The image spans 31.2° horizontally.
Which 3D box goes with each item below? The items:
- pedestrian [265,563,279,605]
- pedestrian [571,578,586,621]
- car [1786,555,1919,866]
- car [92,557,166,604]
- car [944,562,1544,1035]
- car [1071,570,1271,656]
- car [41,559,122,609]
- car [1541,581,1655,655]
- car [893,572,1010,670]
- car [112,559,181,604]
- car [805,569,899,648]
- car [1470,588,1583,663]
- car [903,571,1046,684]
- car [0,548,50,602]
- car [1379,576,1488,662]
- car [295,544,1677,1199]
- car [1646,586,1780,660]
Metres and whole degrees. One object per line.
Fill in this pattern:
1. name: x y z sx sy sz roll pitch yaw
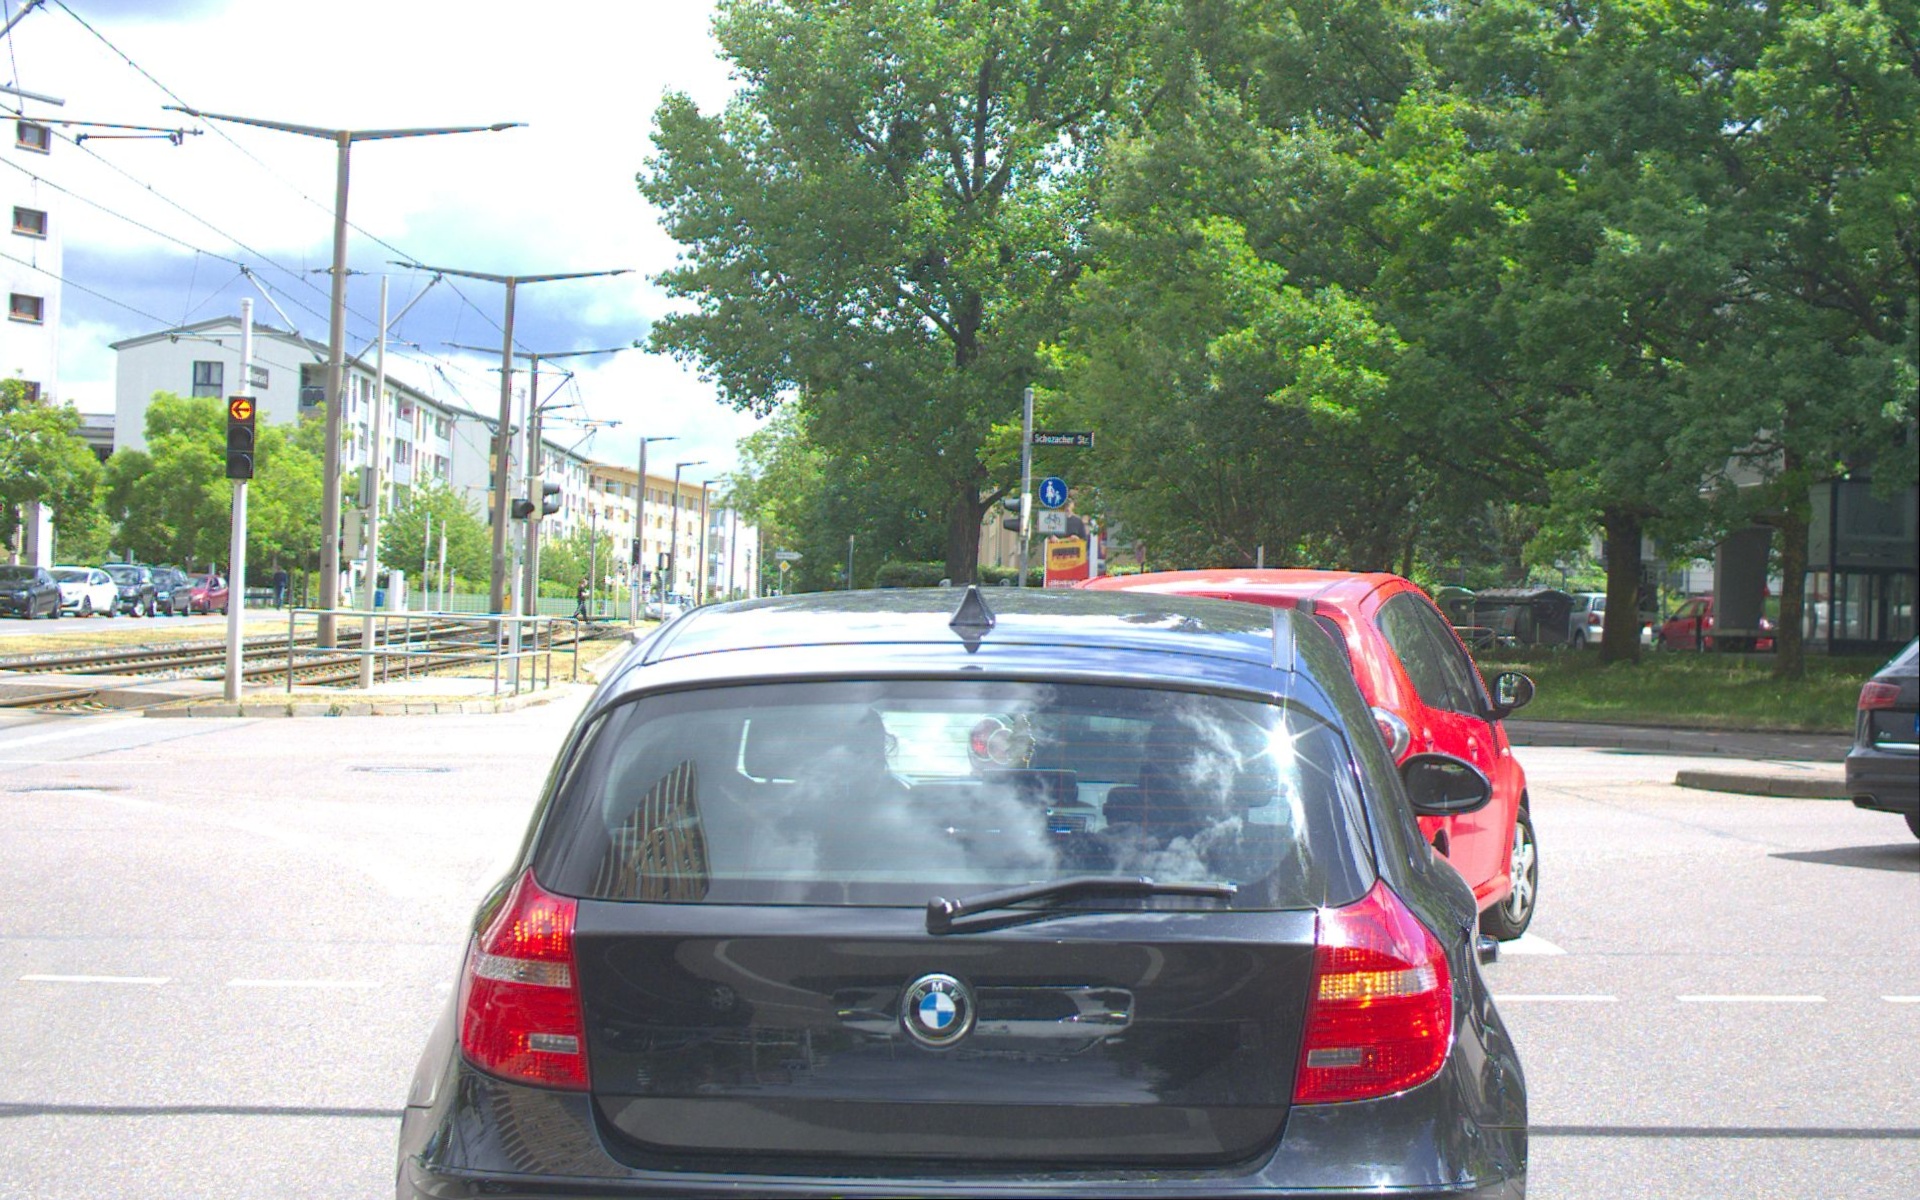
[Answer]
1. pedestrian: -27.272 -0.642 136.325 0.452 1.631 0.480 1 1 -3
2. pedestrian: -14.548 -0.026 131.048 0.478 1.631 0.454 1 1 -1
3. car: 6.694 0.568 18.404 4.507 1.548 2.000 0 0 -37
4. car: -25.973 -0.625 107.521 1.760 1.390 4.001 1 1 -7
5. car: 1.141 0.597 12.433 1.543 1.436 3.193 1 1 16
6. car: 4.637 0.285 75.732 3.986 1.817 1.779 1 1 -22
7. car: -25.790 -0.471 101.026 1.760 1.390 4.001 1 1 -7
8. car: 14.612 0.392 78.933 1.630 1.589 4.001 1 1 -3
9. car: -0.163 0.374 61.674 1.993 1.678 4.000 1 0 0
10. car: -26.523 -0.619 112.167 1.760 1.390 4.001 1 1 -7
11. car: -2.397 0.168 77.125 1.993 1.678 4.000 1 1 0
12. car: 12.748 0.557 77.594 1.630 1.567 4.033 1 1 -3
13. car: 0.207 0.422 54.225 2.152 1.678 4.000 1 0 0
14. car: -25.949 -0.698 93.467 1.760 1.390 4.001 1 1 -7
15. car: 10.541 0.401 76.721 1.630 1.804 4.033 1 1 -3
16. car: 0.011 0.659 6.406 1.752 1.482 4.000 1 1 0
17. car: 17.340 0.505 79.379 1.730 1.589 4.001 1 1 -8
